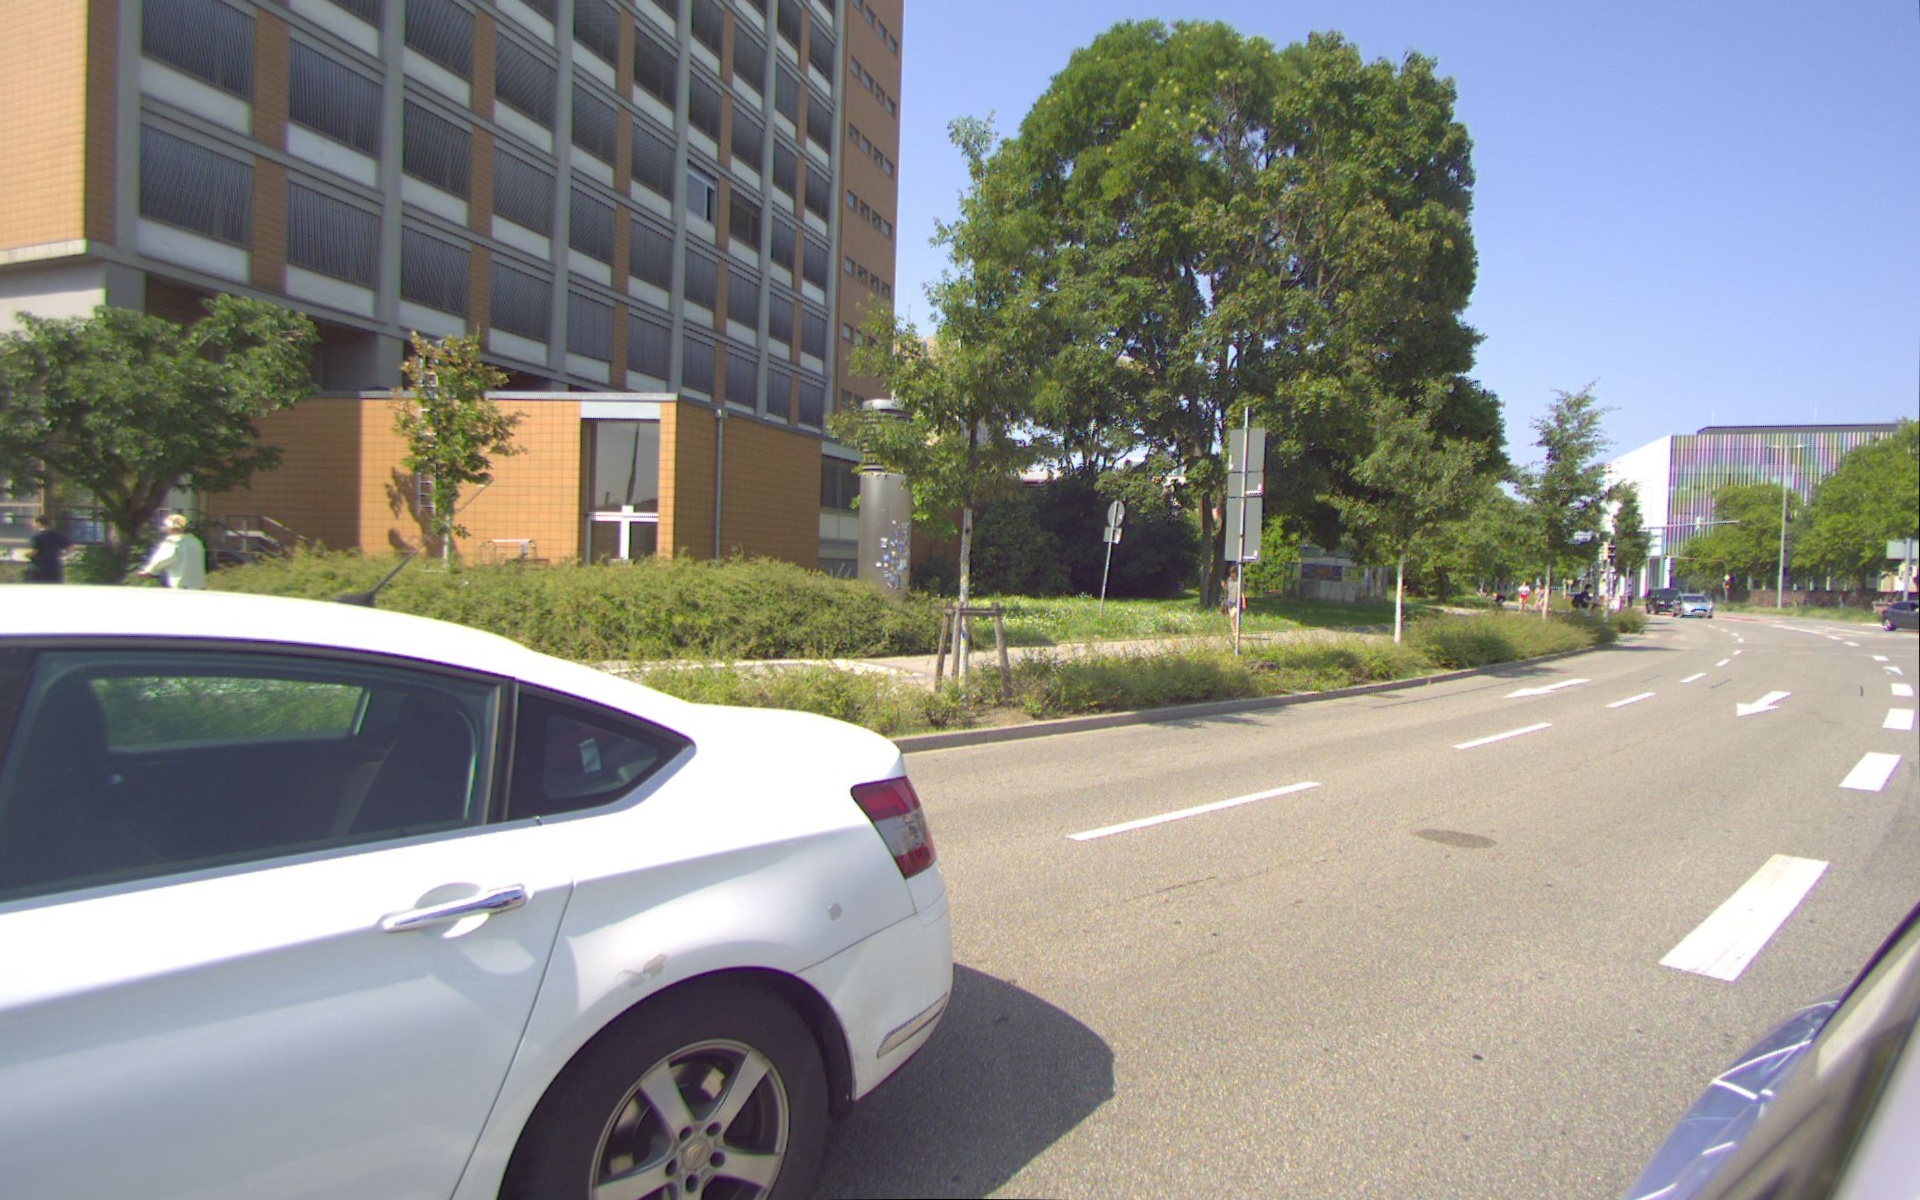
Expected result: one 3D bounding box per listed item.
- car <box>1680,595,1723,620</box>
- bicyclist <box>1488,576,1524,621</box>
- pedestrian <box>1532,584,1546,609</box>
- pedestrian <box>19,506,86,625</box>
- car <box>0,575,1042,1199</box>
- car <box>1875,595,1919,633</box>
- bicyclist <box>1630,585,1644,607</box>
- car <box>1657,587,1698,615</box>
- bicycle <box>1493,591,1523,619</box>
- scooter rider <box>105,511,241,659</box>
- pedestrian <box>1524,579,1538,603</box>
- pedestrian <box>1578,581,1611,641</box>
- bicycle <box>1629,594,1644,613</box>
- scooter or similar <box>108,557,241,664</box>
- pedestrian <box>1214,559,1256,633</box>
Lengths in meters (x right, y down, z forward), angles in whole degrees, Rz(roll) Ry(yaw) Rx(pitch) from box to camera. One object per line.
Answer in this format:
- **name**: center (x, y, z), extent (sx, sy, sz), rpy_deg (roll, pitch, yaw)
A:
- **car**: center (48.621, 0.483, 66.419), extent (1.645, 1.550, 4.488), rpy_deg (0, 0, 28)
- **bicyclist**: center (20.571, -0.059, 38.097), extent (0.908, 1.625, 0.903), rpy_deg (1, 1, -42)
- **pedestrian**: center (31.446, -0.184, 54.969), extent (0.610, 1.315, 0.434), rpy_deg (0, 0, 23)
- **pedestrian**: center (-14.894, -0.578, 16.609), extent (0.831, 1.894, 0.622), rpy_deg (2, 2, 32)
- **car**: center (-2.124, 0.694, 1.767), extent (4.526, 1.446, 1.773), rpy_deg (0, 2, -39)
- **car**: center (43.729, 0.676, 45.138), extent (1.762, 1.638, 4.009), rpy_deg (1, 2, -14)
- **bicyclist**: center (44.103, -0.247, 65.958), extent (0.674, 1.417, 1.038), rpy_deg (2, 1, 31)
- **car**: center (52.596, 0.037, 74.229), extent (1.875, 1.943, 4.488), rpy_deg (1, 1, 28)
- **bicycle**: center (20.636, 0.182, 38.126), extent (1.750, 0.992, 0.357), rpy_deg (0, 2, -40)
- **scooter rider**: center (-9.749, -0.185, 12.573), extent (1.020, 1.780, 0.860), rpy_deg (0, 0, -1)
- **pedestrian**: center (31.170, -0.489, 55.251), extent (0.628, 1.315, 0.483), rpy_deg (0, 0, 24)
- **pedestrian**: center (20.922, 0.354, 33.388), extent (0.819, 1.926, 0.622), rpy_deg (2, 1, 37)
- **bicycle**: center (44.076, 0.193, 65.941), extent (0.589, 1.183, 2.212), rpy_deg (2, 1, 29)
- **scooter or similar**: center (-9.749, 0.126, 12.591), extent (1.154, 1.295, 0.652), rpy_deg (0, 0, -1)
- **pedestrian**: center (6.515, -0.105, 24.002), extent (0.669, 1.720, 0.795), rpy_deg (2, 1, 38)
